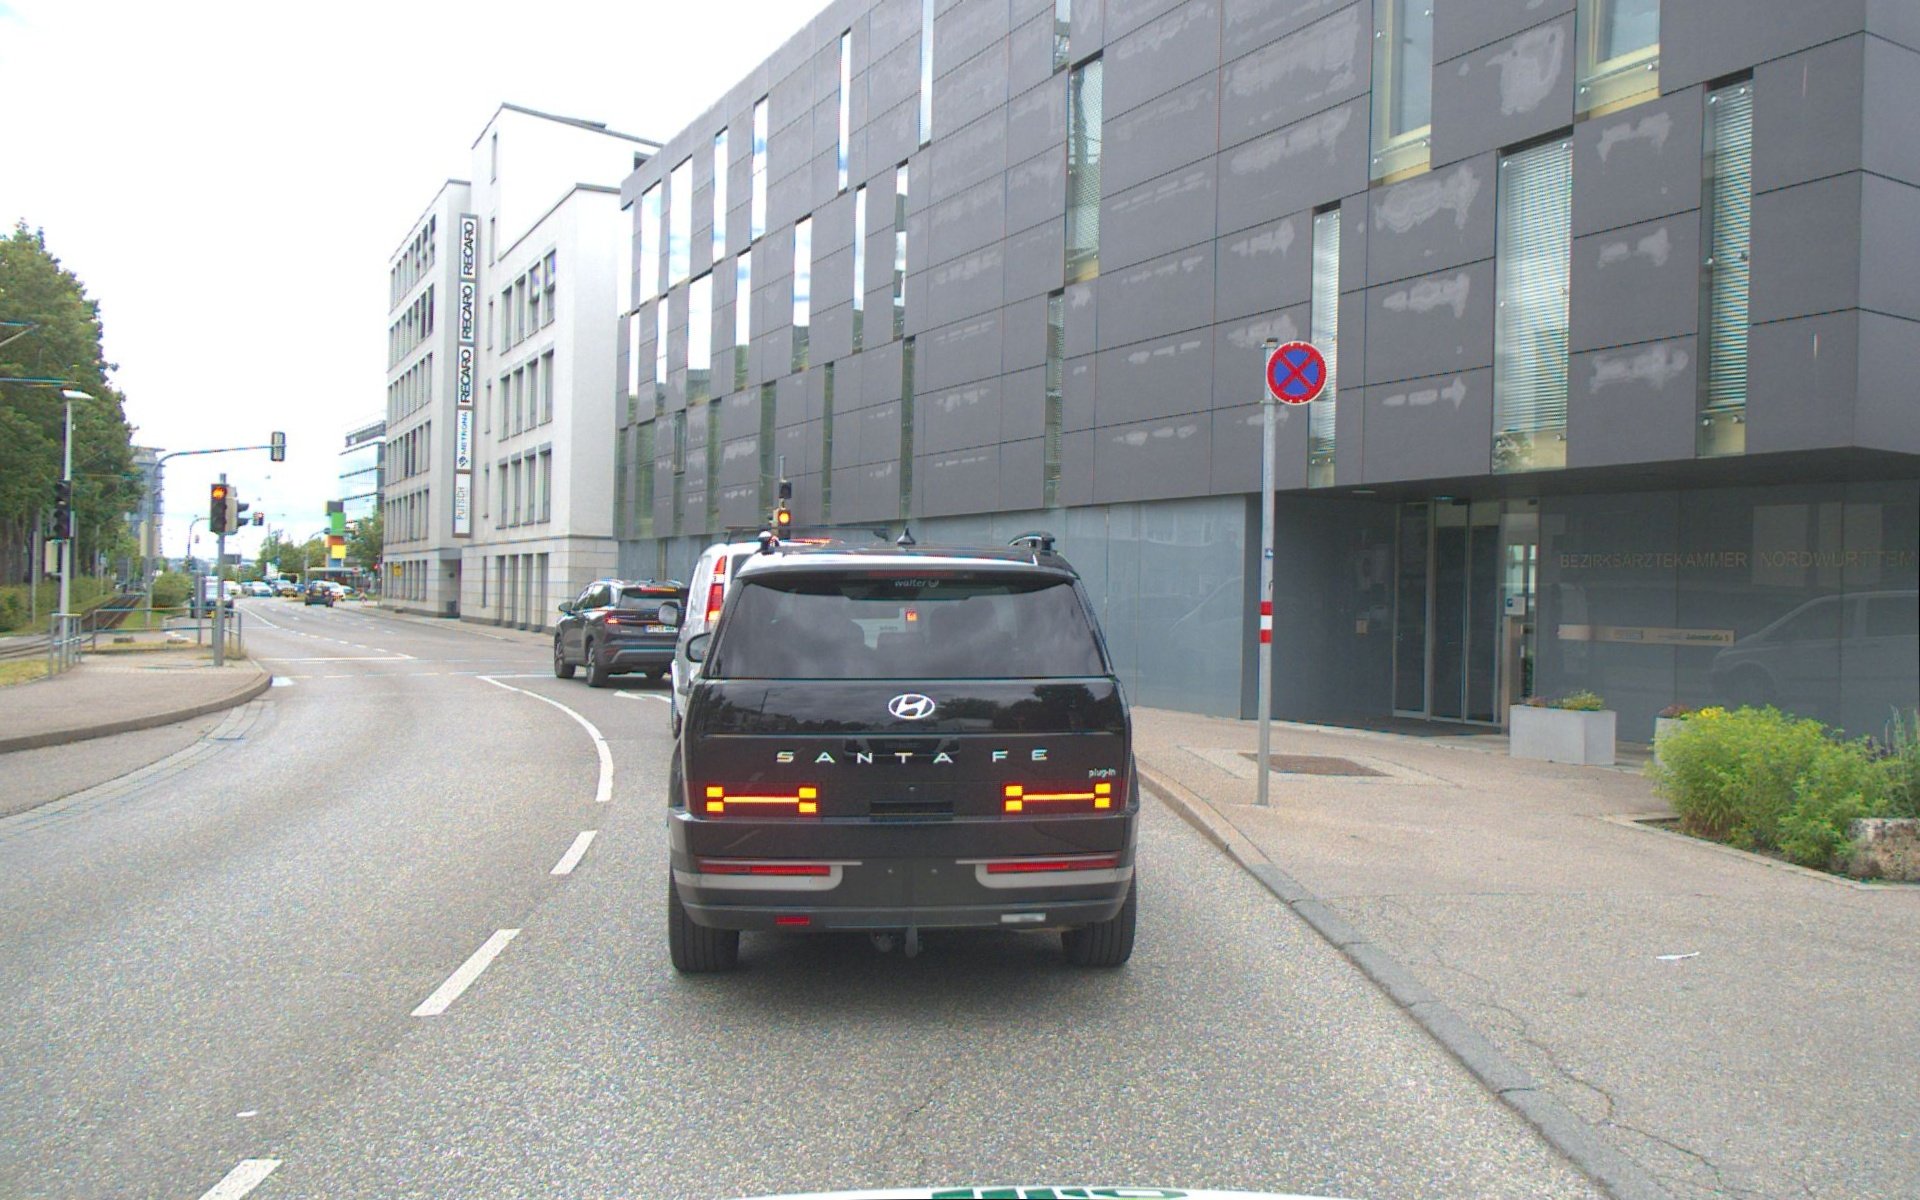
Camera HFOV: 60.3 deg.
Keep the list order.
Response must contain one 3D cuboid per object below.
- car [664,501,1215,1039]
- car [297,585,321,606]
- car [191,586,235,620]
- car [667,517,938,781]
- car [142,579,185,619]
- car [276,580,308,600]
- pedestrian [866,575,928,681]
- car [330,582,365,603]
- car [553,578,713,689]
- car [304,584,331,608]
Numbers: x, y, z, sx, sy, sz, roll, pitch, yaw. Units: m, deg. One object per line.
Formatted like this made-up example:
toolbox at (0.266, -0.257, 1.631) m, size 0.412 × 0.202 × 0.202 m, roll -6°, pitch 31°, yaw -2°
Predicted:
car at (-0.307, 0.558, 7.782) m, size 1.872 × 1.780 × 4.390 m, roll 0°, pitch 0°, yaw -7°
car at (-53.315, -0.367, 135.369) m, size 1.735 × 1.637 × 4.159 m, roll 1°, pitch 0°, yaw -23°
car at (-34.386, 0.135, 76.153) m, size 1.744 × 1.504 × 3.971 m, roll -1°, pitch 0°, yaw -23°
car at (-1.599, 0.381, 15.110) m, size 1.898 × 2.029 × 4.520 m, roll 1°, pitch 0°, yaw -13°
car at (-38.549, -0.049, 80.112) m, size 1.658 × 1.840 × 4.321 m, roll -1°, pitch 0°, yaw -23°
car at (-67.227, -1.027, 166.350) m, size 1.979 × 1.885 × 3.946 m, roll 1°, pitch 0°, yaw -38°
pedestrian at (-1.060, 0.463, 27.592) m, size 0.703 × 1.724 × 0.858 m, roll 2°, pitch -1°, yaw -28°
car at (-52.732, -0.662, 142.344) m, size 1.976 × 1.707 × 3.953 m, roll 1°, pitch 0°, yaw -34°
car at (-5.371, 0.490, 26.783) m, size 1.735 × 1.637 × 4.159 m, roll 1°, pitch 0°, yaw -23°
car at (-46.214, -0.303, 118.918) m, size 1.735 × 1.637 × 4.159 m, roll 1°, pitch 0°, yaw -23°
